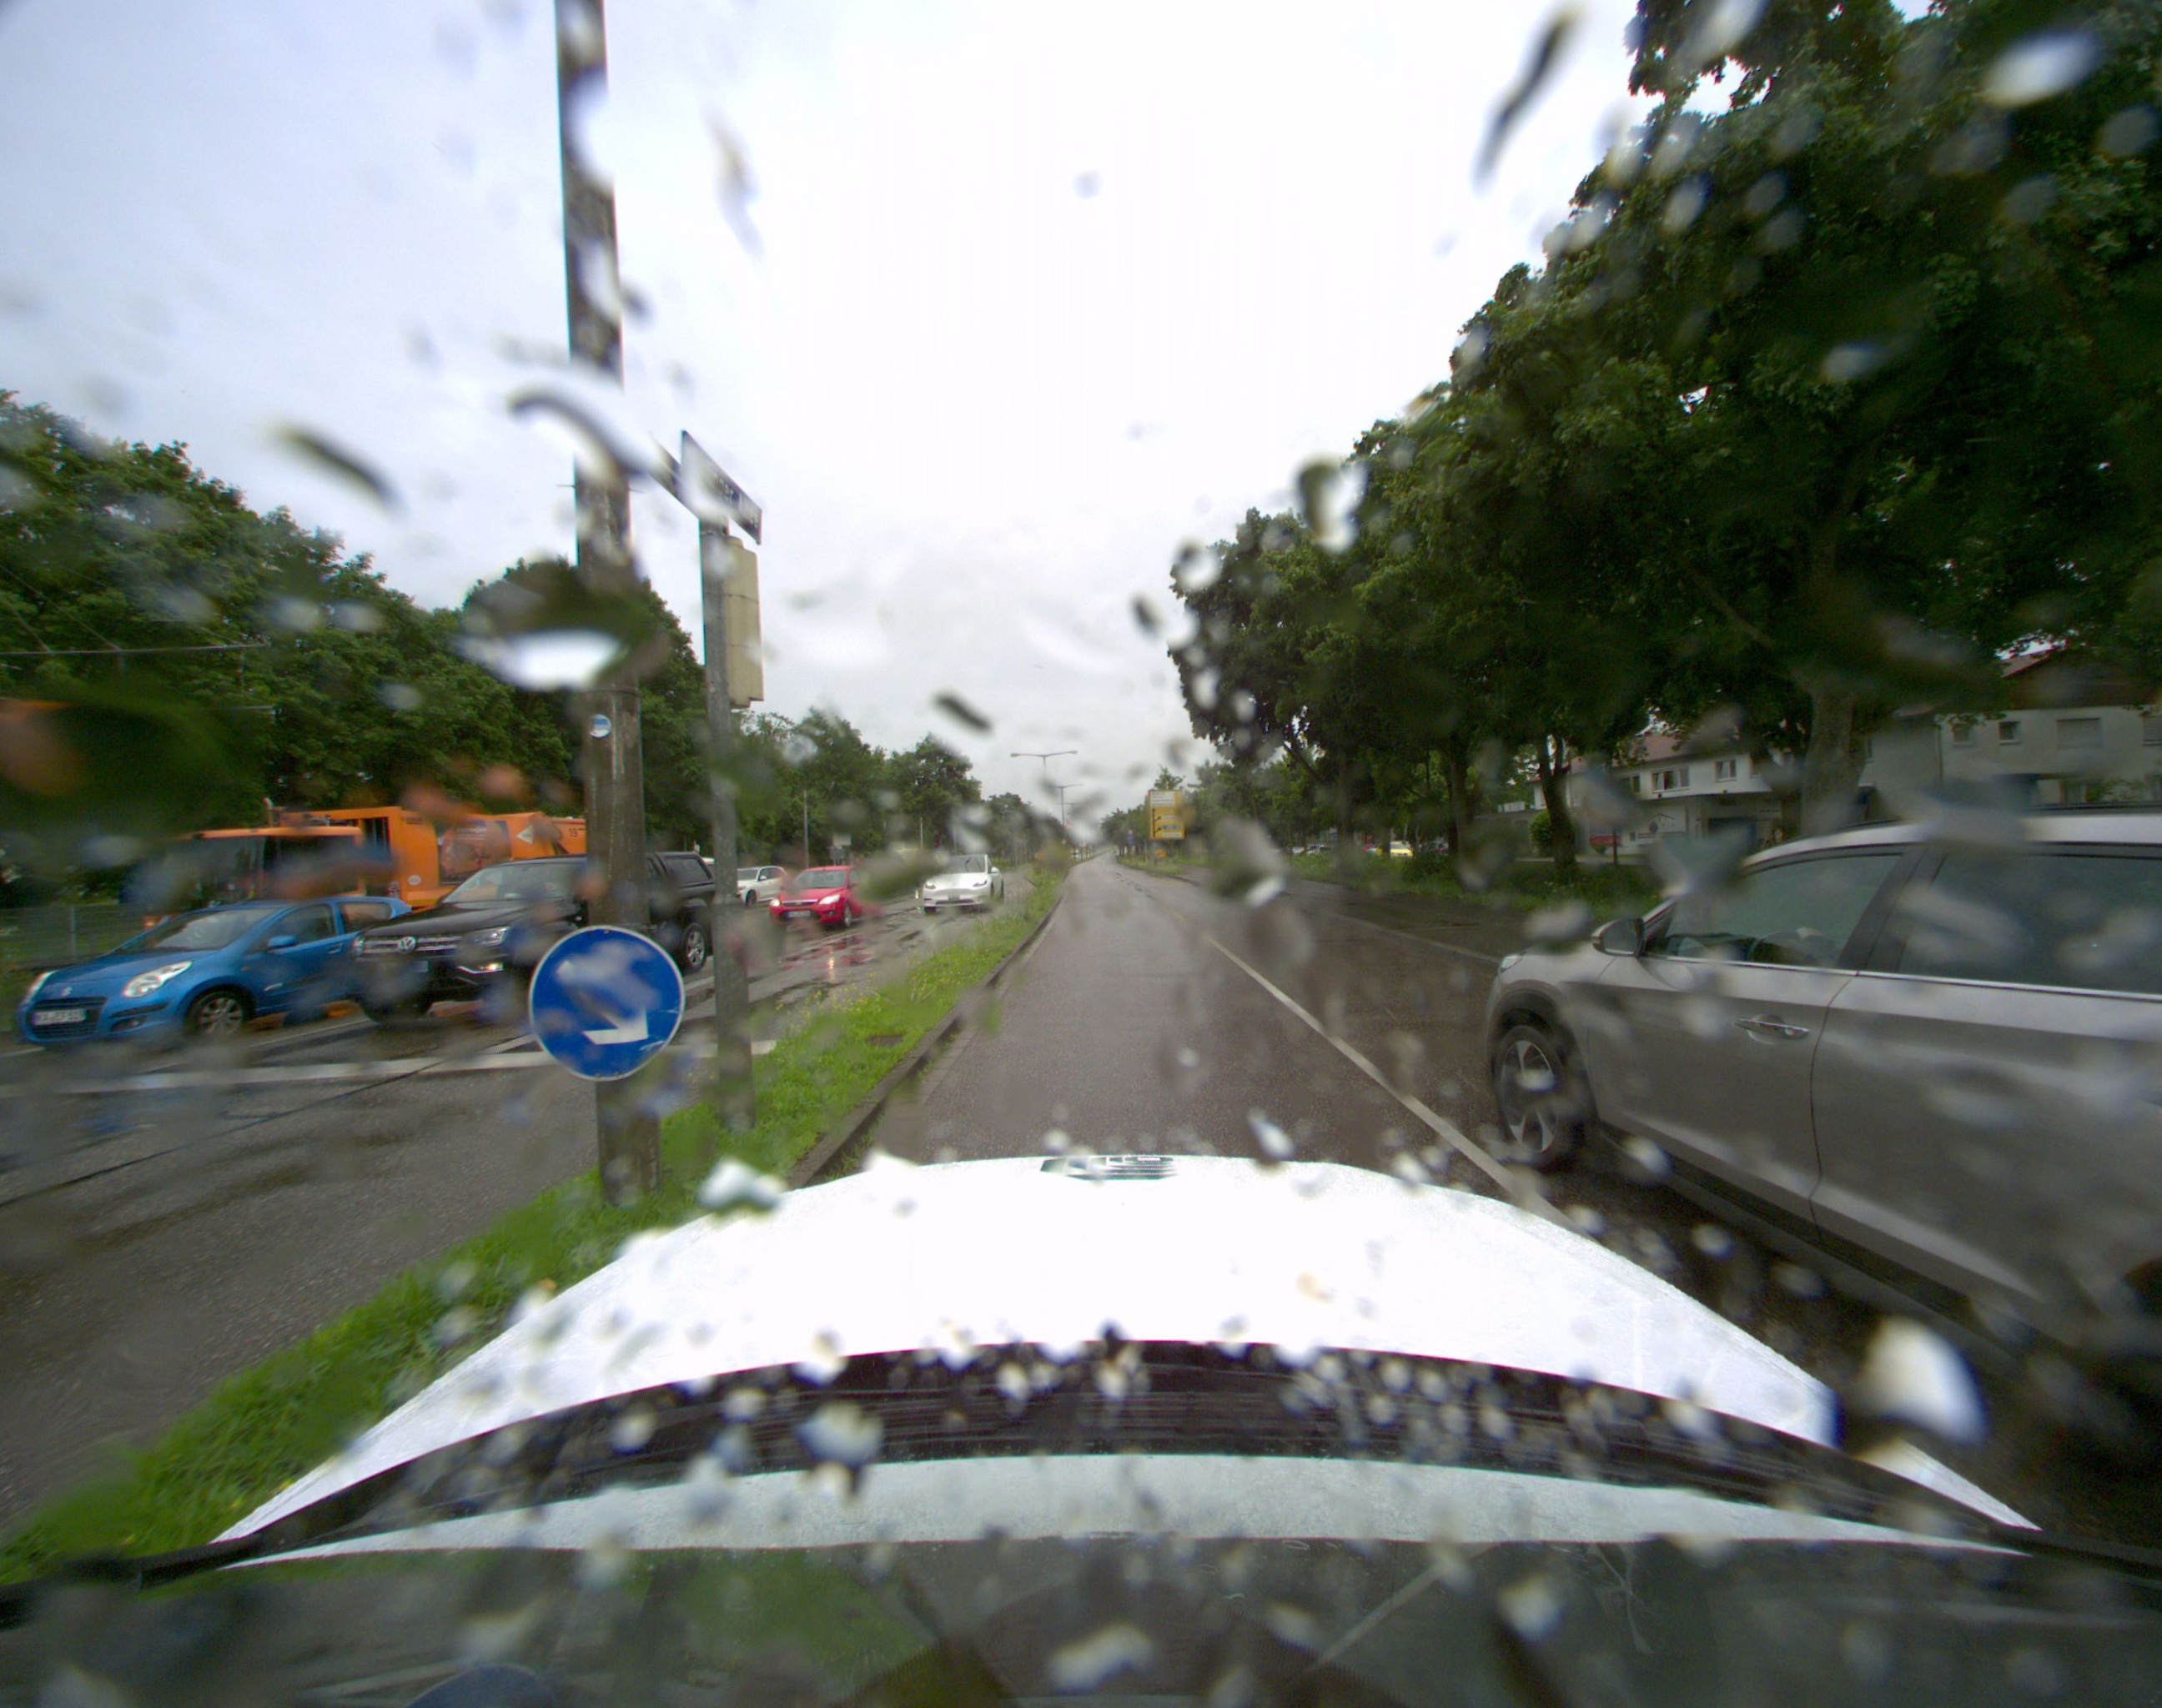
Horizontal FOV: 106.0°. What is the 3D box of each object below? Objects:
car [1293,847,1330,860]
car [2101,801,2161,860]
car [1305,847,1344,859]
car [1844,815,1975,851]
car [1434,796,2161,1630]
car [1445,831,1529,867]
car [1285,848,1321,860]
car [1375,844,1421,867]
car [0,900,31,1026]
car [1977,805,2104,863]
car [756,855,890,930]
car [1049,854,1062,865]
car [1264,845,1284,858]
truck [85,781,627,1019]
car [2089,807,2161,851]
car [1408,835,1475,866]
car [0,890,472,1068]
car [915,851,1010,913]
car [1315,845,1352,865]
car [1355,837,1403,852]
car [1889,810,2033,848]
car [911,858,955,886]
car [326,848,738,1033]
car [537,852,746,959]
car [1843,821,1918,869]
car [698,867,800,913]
[{"bbox_3d":[31.809,-0.071,112.417,4.558,1.705,1.998,0,-1,-3],"label":"car"},{"bbox_3d":[28.441,-0.575,21.184,1.648,1.449,3.775,-1,-1,40],"label":"car"},{"bbox_3d":[31.895,-0.128,106.667,4.548,1.557,1.948,0,-1,5],"label":"car"},{"bbox_3d":[33.708,-0.807,33.278,1.567,1.316,3.700,-1,-1,-1],"label":"car"},{"bbox_3d":[3.043,0.673,2.832,1.877,1.610,4.196,-1,0,1],"label":"car"},{"bbox_3d":[21.615,-0.224,43.609,1.987,1.717,4.877,-3,-1,0],"label":"car"},{"bbox_3d":[31.454,-0.041,115.319,4.561,1.645,1.997,0,-1,-4],"label":"car"},{"bbox_3d":[22.025,0.123,56.774,1.632,1.486,4.072,0,-1,0],"label":"car"},{"bbox_3d":[-15.925,1.485,9.252,1.985,1.709,4.530,0,-1,3],"label":"car"},{"bbox_3d":[26.382,-0.485,22.523,1.648,1.449,3.775,-1,-1,40],"label":"car"},{"bbox_3d":[-6.319,0.905,20.530,1.795,1.569,4.429,-4,-1,1],"label":"car"},{"bbox_3d":[-3.966,0.839,126.929,1.737,1.650,4.137,-4,0,1],"label":"car"},{"bbox_3d":[24.007,-0.282,101.620,1.737,1.445,4.127,-3,1,4],"label":"car"},{"bbox_3d":[-15.624,0.859,19.502,3.372,4.167,10.411,0,-1,2],"label":"truck"},{"bbox_3d":[38.522,-0.874,28.421,1.745,1.500,4.119,0,-1,4],"label":"car"},{"bbox_3d":[21.748,-0.171,49.347,1.987,1.717,4.640,-3,-1,0],"label":"car"},{"bbox_3d":[-9.599,1.271,9.677,1.636,1.427,3.999,-4,-1,0],"label":"car"},{"bbox_3d":[-3.396,0.746,24.335,1.954,1.617,4.699,-2,0,2],"label":"car"},{"bbox_3d":[22.779,0.088,73.656,1.986,1.625,4.643,-3,-1,2],"label":"car"},{"bbox_3d":[30.931,-1.008,84.584,4.323,1.484,1.944,0,-1,-2],"label":"car"},{"bbox_3d":[35.964,-0.975,33.452,1.578,1.385,3.999,0,-1,0],"label":"car"},{"bbox_3d":[-9.715,1.170,53.603,1.699,1.641,4.336,-4,0,4],"label":"car"},{"bbox_3d":[-6.634,0.878,10.792,1.799,1.773,5.091,-3,0,2],"label":"car"},{"bbox_3d":[-9.610,1.008,18.377,1.922,2.018,4.745,-3,0,2],"label":"car"},{"bbox_3d":[24.132,-0.241,24.564,3.408,1.352,1.506,0,-1,-44],"label":"car"},{"bbox_3d":[-14.272,1.517,35.389,1.983,1.827,4.781,0,-1,7],"label":"car"}]
